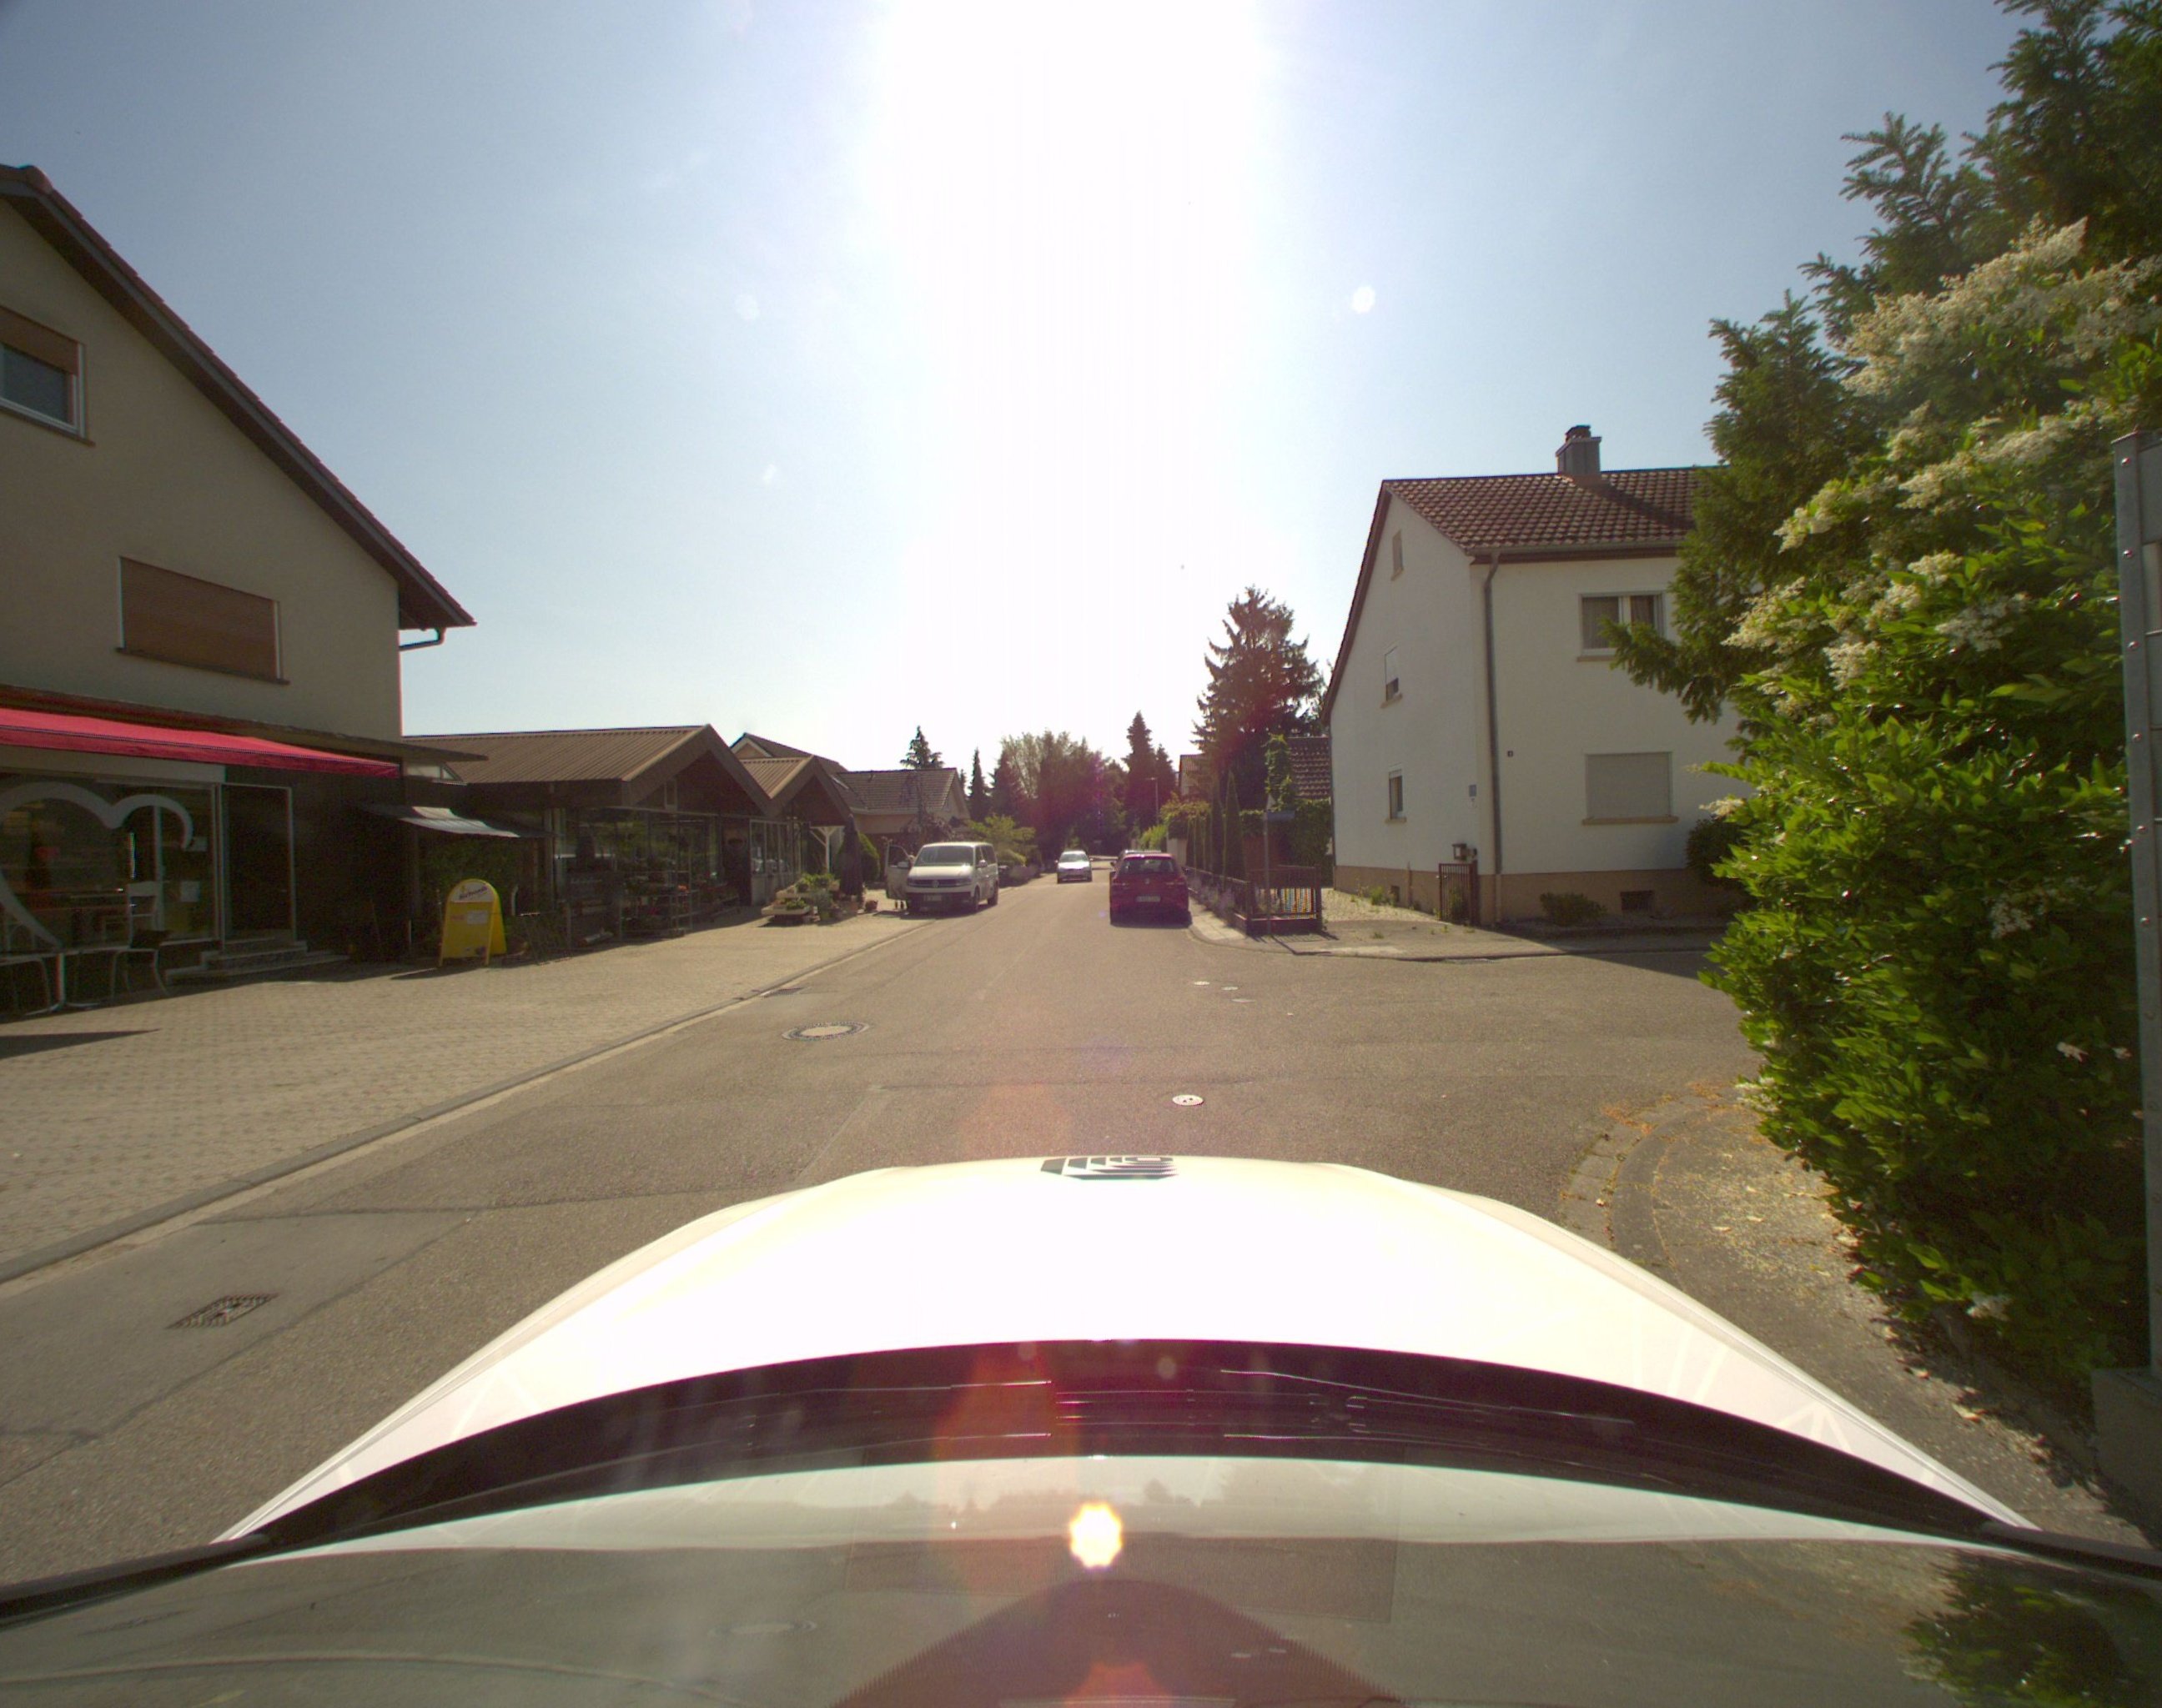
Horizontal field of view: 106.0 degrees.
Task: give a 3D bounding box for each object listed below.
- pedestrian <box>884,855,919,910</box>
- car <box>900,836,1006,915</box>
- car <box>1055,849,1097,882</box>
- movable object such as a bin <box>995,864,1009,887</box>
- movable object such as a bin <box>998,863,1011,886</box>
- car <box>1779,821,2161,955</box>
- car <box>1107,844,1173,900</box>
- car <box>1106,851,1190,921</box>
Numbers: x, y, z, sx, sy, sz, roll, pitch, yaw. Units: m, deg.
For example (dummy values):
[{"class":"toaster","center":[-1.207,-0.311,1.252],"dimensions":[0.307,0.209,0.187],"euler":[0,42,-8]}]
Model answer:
[{"class":"pedestrian","center":[-5.142,0.796,23.336],"dimensions":[0.710,1.538,0.646],"euler":[-1,1,36]},{"class":"car","center":[-3.584,0.556,23.755],"dimensions":[1.920,2.013,4.901],"euler":[-2,0,4]},{"class":"car","center":[-0.177,0.524,40.518],"dimensions":[1.745,1.487,4.379],"euler":[-2,0,3]},{"class":"movable object such as a bin","center":[-3.578,0.961,36.893],"dimensions":[0.492,1.024,0.448],"euler":[-2,0,2]},{"class":"movable object such as a bin","center":[-3.523,0.950,37.381],"dimensions":[0.492,1.024,0.448],"euler":[-2,0,2]},{"class":"car","center":[11.977,0.394,10.729],"dimensions":[3.971,1.530,1.798],"euler":[-2,0,1]},{"class":"car","center":[1.798,0.530,26.040],"dimensions":[1.816,1.615,3.999],"euler":[-1,0,0]},{"class":"car","center":[1.625,0.664,19.248],"dimensions":[1.766,1.479,4.007],"euler":[0,0,6]}]
